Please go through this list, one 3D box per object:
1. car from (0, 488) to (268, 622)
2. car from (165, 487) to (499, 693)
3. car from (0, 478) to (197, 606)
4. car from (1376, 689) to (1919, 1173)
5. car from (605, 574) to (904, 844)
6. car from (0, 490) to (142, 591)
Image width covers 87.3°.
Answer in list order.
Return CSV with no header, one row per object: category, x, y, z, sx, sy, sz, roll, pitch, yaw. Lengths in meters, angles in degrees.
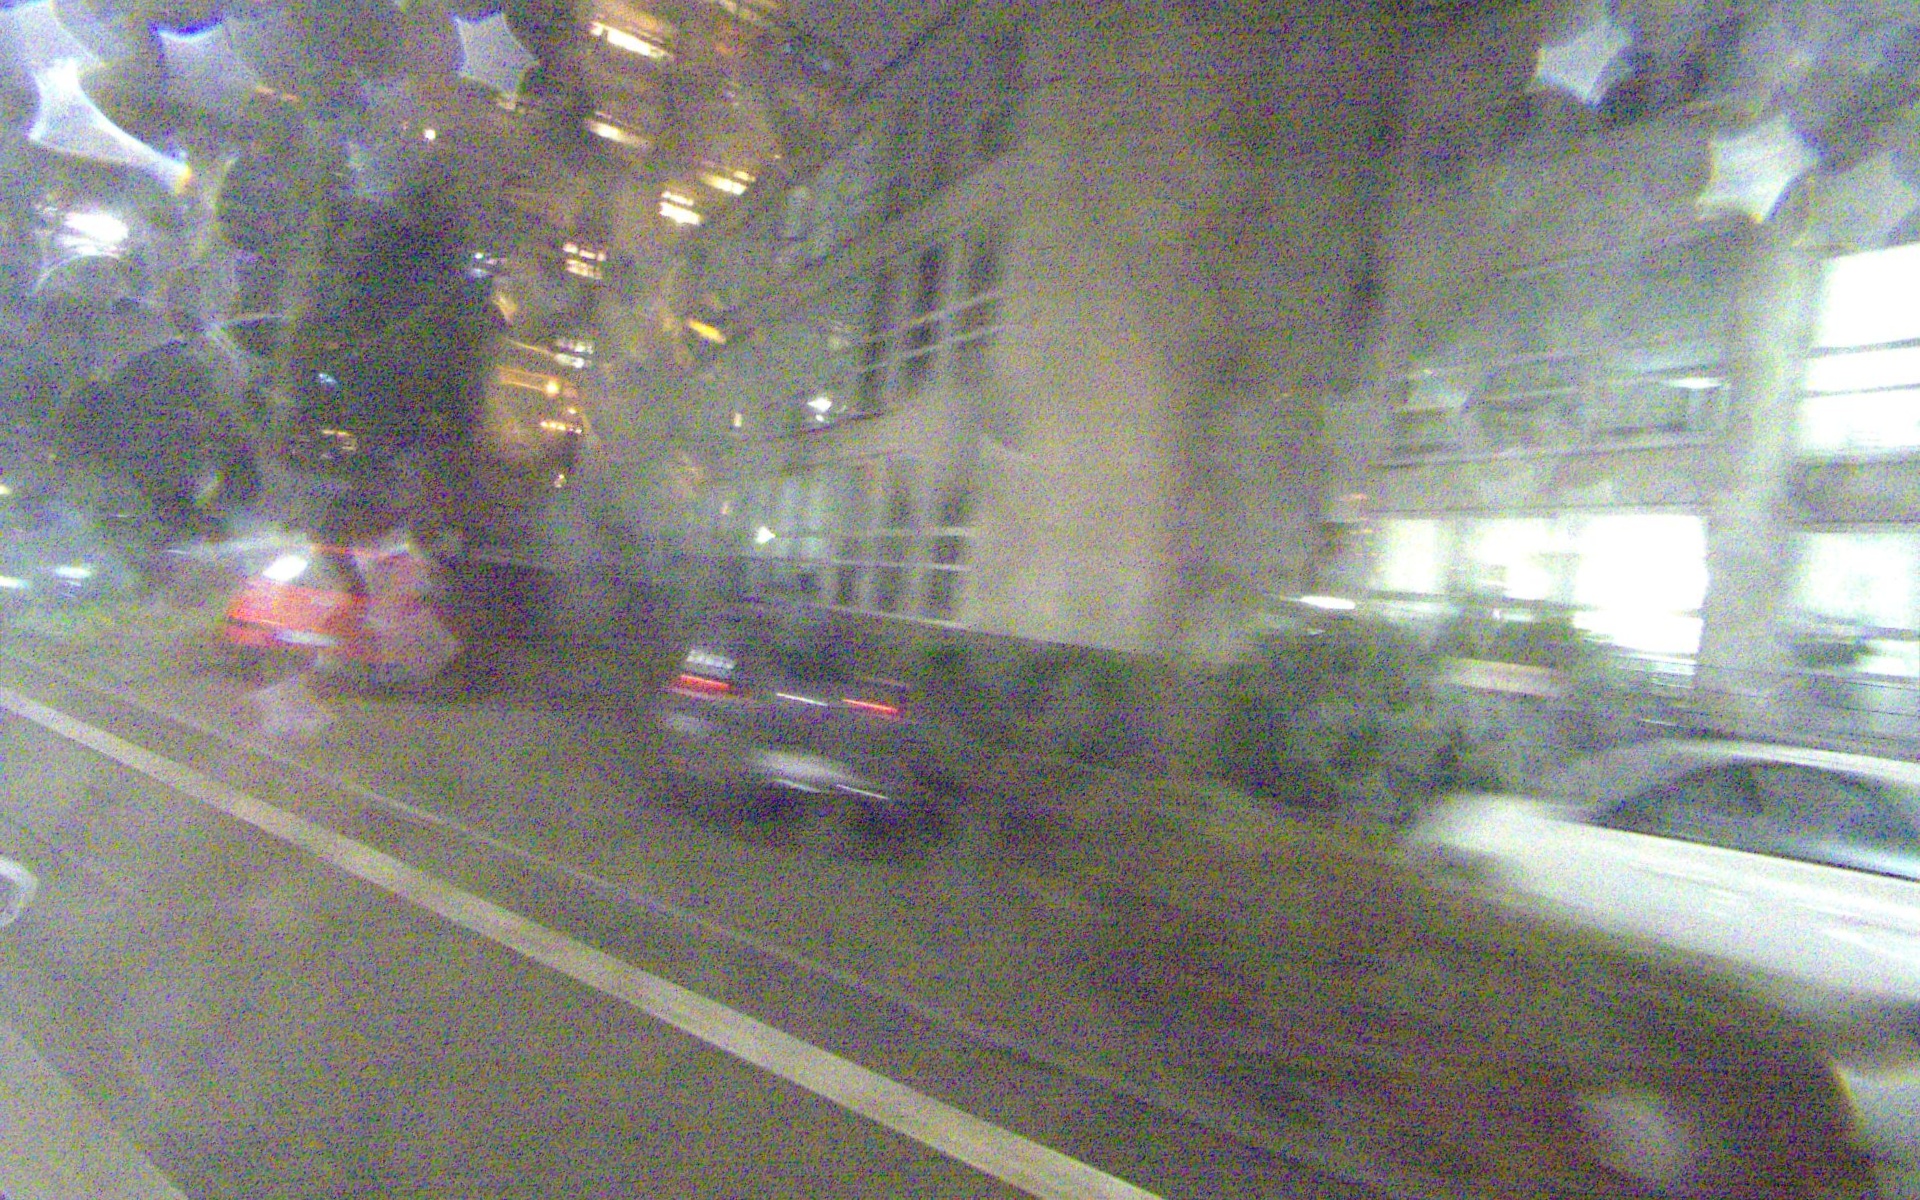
car,-12.014,-0.556,14.321,1.920,1.470,4.242,9,-3,-12
car,-6.711,-0.047,11.321,2.025,1.641,3.818,9,-3,-16
car,-14.819,-0.924,16.445,1.999,1.717,4.240,9,-3,-13
car,4.096,1.457,4.982,1.678,1.550,3.743,9,-3,-15
car,-1.552,0.715,8.036,1.610,1.446,3.824,8,-2,-9
car,-17.425,-1.142,18.576,1.881,1.589,3.955,9,-3,-13
